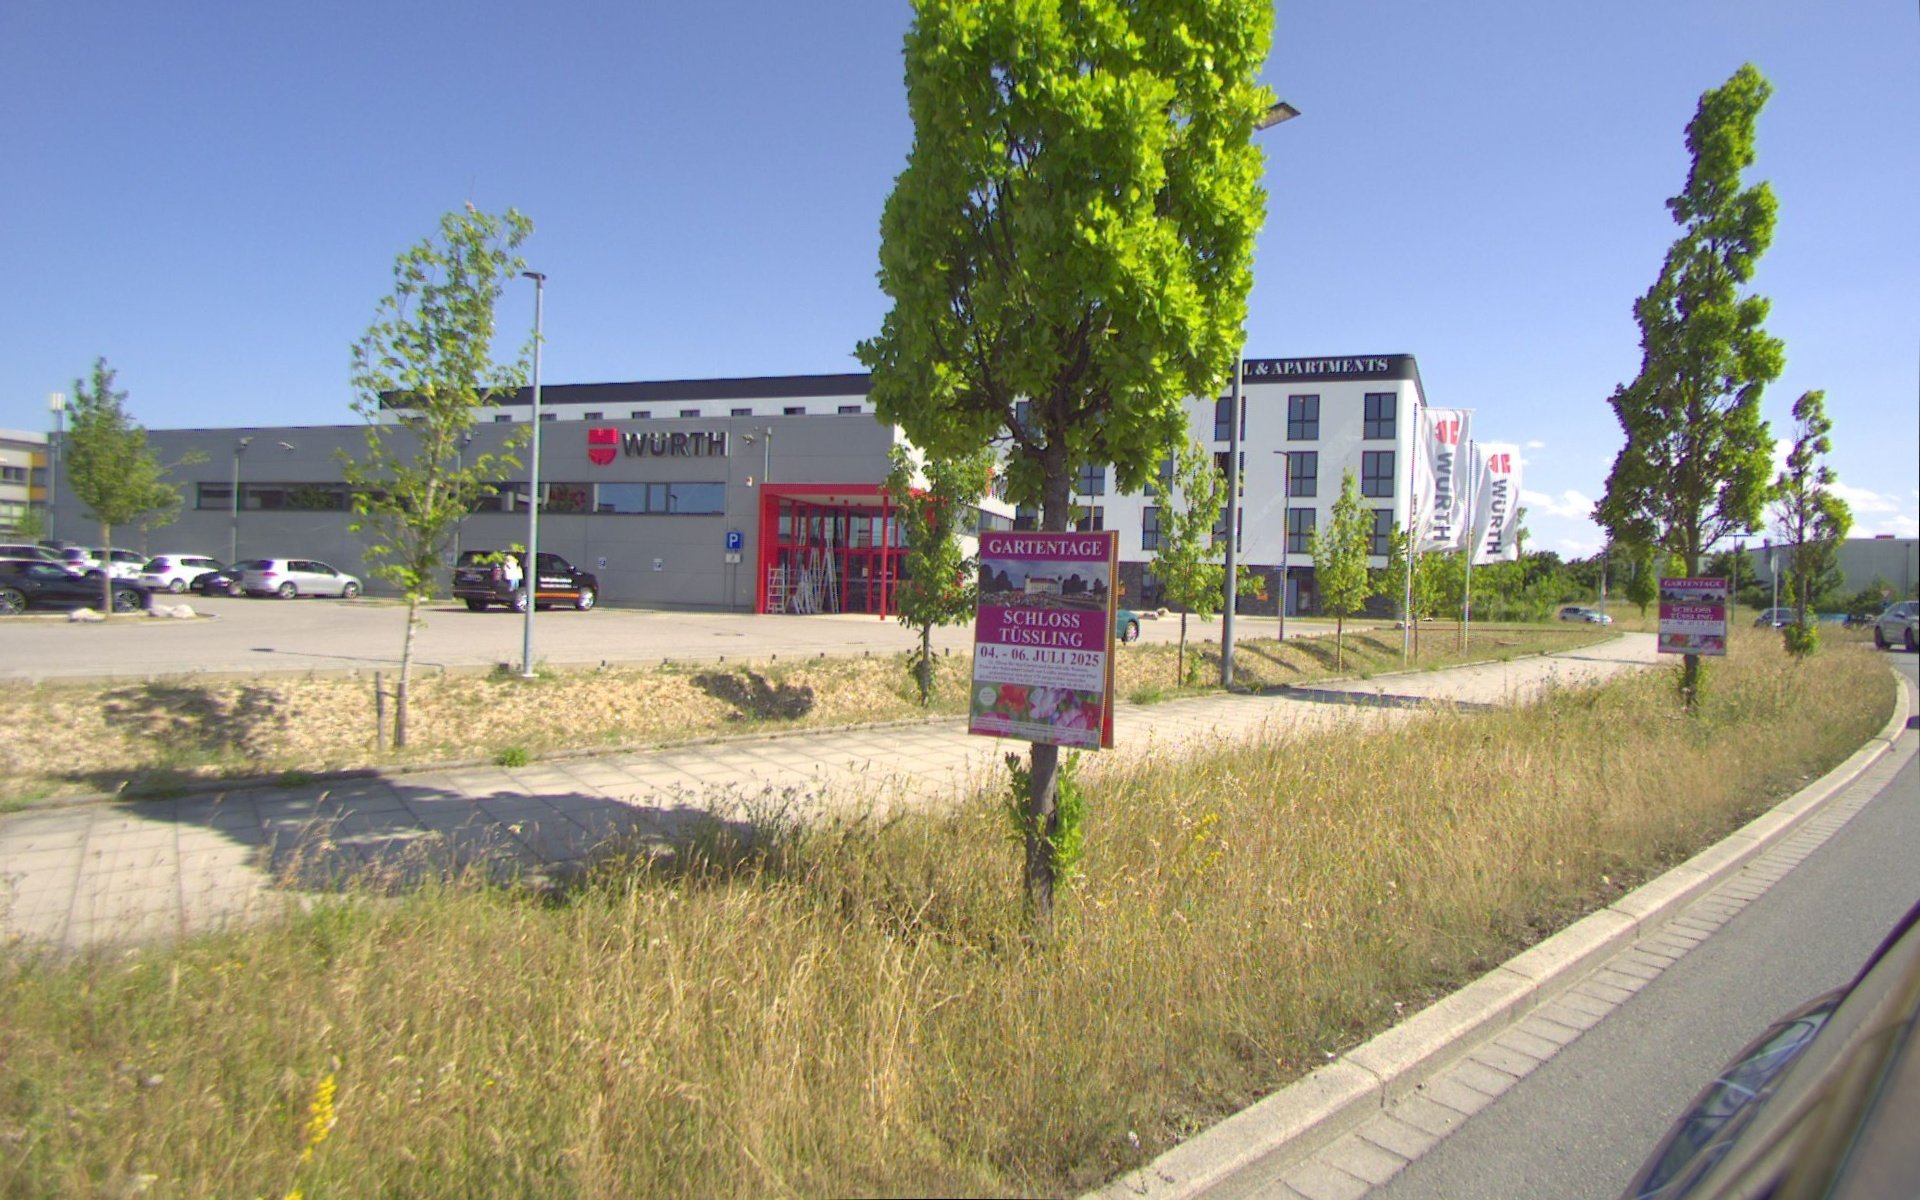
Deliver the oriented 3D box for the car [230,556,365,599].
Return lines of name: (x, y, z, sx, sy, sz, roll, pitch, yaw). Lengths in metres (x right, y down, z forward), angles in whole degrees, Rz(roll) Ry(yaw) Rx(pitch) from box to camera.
car: (-24.516, -0.838, 37.606, 1.679, 1.480, 4.087, 1, 1, 17)

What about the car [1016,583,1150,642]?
car: (3.331, 0.310, 26.842, 1.513, 1.425, 3.939, 2, 1, 42)

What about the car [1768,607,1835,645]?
car: (41.603, 1.247, 50.113, 1.743, 1.709, 4.335, 2, 1, 30)

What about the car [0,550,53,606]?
car: (-26.496, -0.598, 26.252, 1.678, 1.490, 4.211, 1, 1, 16)

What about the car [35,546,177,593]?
car: (-34.053, -1.184, 40.484, 1.679, 1.779, 4.087, 1, 1, 17)

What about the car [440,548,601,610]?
car: (-14.129, -0.660, 32.893, 2.022, 1.838, 4.894, 2, 1, 19)

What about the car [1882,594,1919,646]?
car: (32.162, 0.685, 32.937, 2.097, 1.664, 4.727, 1, -1, 29)

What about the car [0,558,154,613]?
car: (-22.061, -0.366, 24.262, 1.631, 1.227, 4.115, 1, 1, 16)

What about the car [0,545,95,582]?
car: (-38.573, -1.501, 41.817, 1.679, 1.480, 4.087, 1, 1, 17)

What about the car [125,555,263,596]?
car: (-29.588, -0.940, 39.242, 1.679, 1.480, 4.087, 1, 1, 17)

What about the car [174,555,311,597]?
car: (-26.979, -0.885, 38.212, 1.679, 1.480, 4.087, 1, 1, 17)
